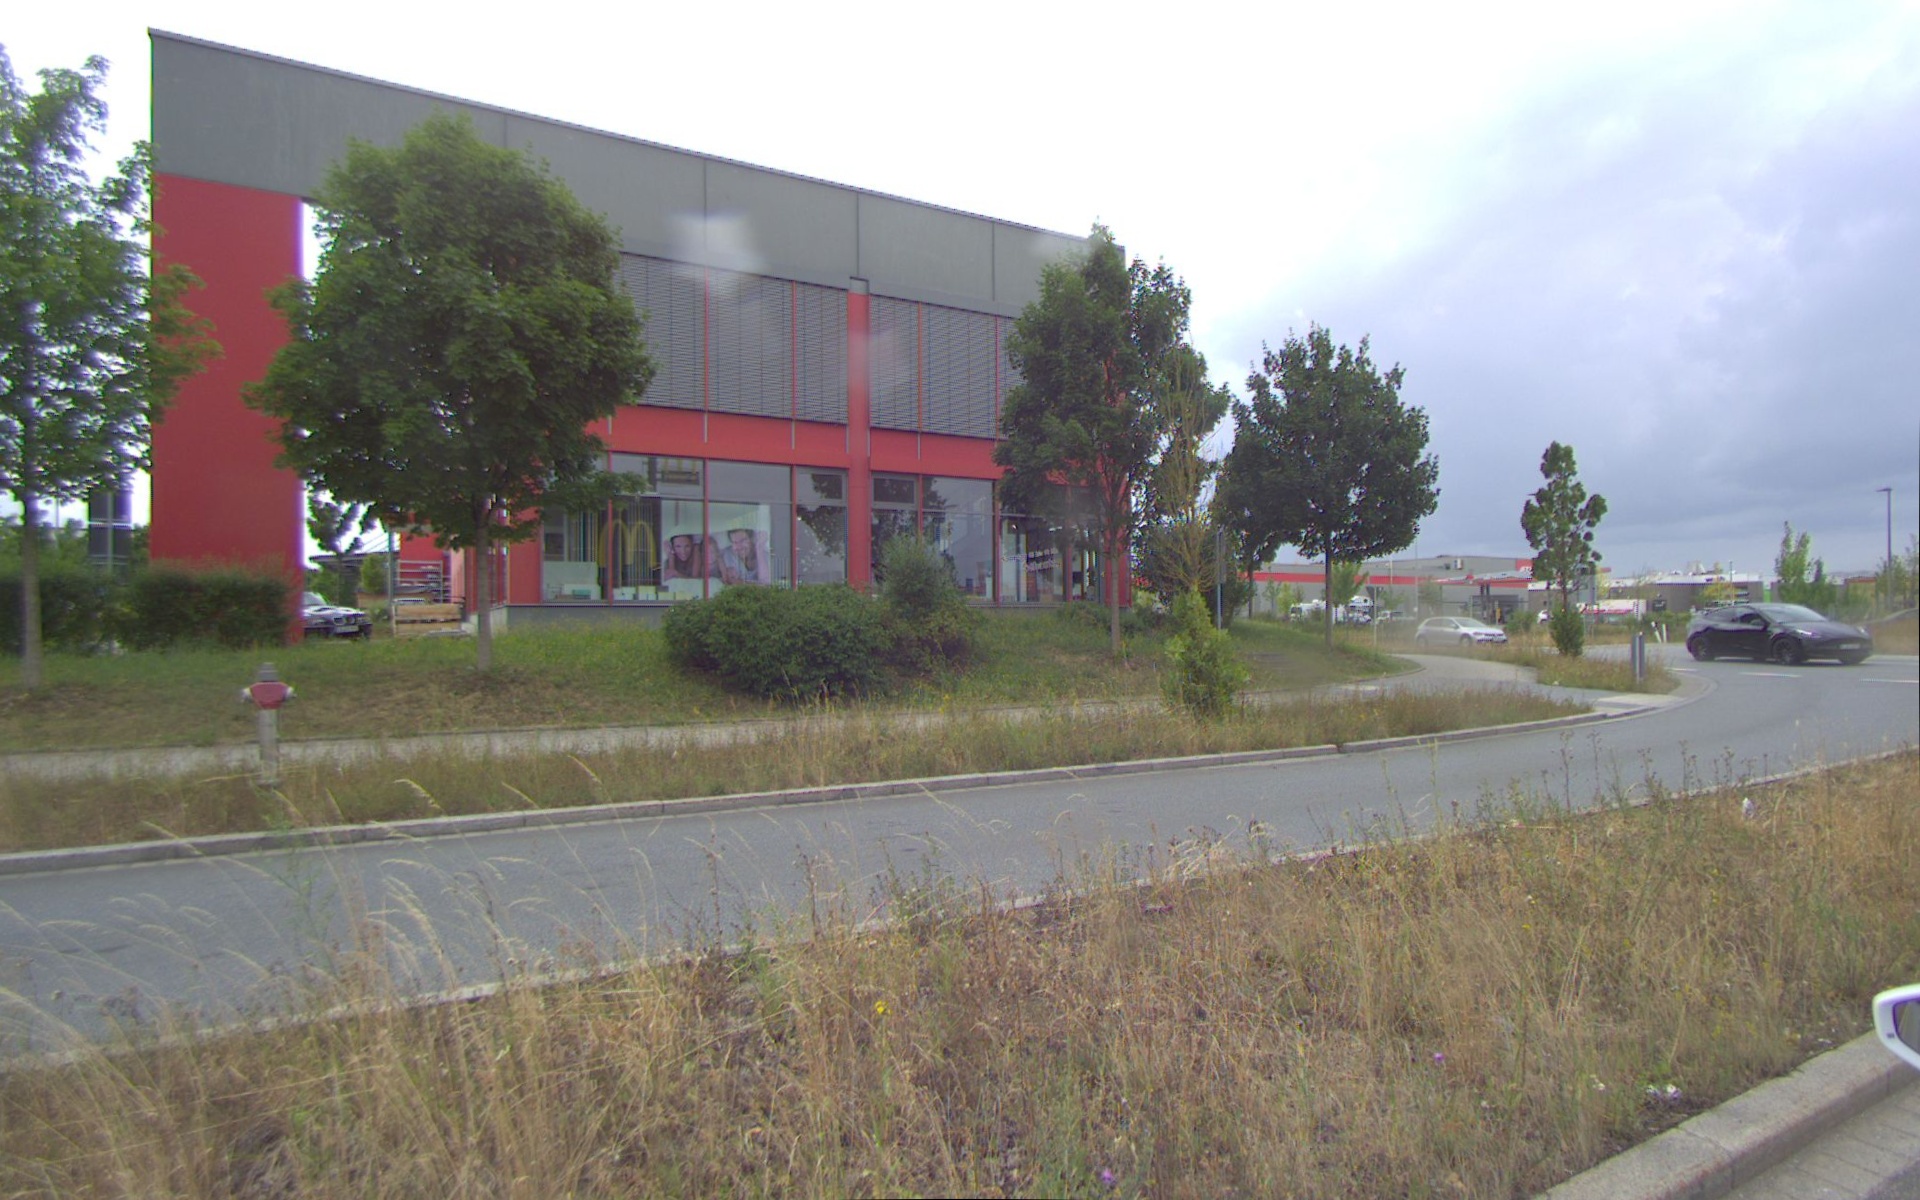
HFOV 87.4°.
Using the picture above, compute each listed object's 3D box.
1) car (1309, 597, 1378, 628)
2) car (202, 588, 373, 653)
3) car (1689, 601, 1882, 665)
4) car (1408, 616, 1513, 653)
[{"bbox_3d":[38.856,1.274,101.587,7.605,2.857,2.449,2,0,-32],"label":"car"},{"bbox_3d":[-14.013,0.441,21.087,2.826,1.287,1.253,2,0,-29],"label":"car"},{"bbox_3d":[22.226,0.851,27.329,1.905,1.518,4.777,-2,-1,10],"label":"car"},{"bbox_3d":[21.411,1.490,43.145,1.784,1.483,3.988,-1,-2,-16],"label":"car"}]
